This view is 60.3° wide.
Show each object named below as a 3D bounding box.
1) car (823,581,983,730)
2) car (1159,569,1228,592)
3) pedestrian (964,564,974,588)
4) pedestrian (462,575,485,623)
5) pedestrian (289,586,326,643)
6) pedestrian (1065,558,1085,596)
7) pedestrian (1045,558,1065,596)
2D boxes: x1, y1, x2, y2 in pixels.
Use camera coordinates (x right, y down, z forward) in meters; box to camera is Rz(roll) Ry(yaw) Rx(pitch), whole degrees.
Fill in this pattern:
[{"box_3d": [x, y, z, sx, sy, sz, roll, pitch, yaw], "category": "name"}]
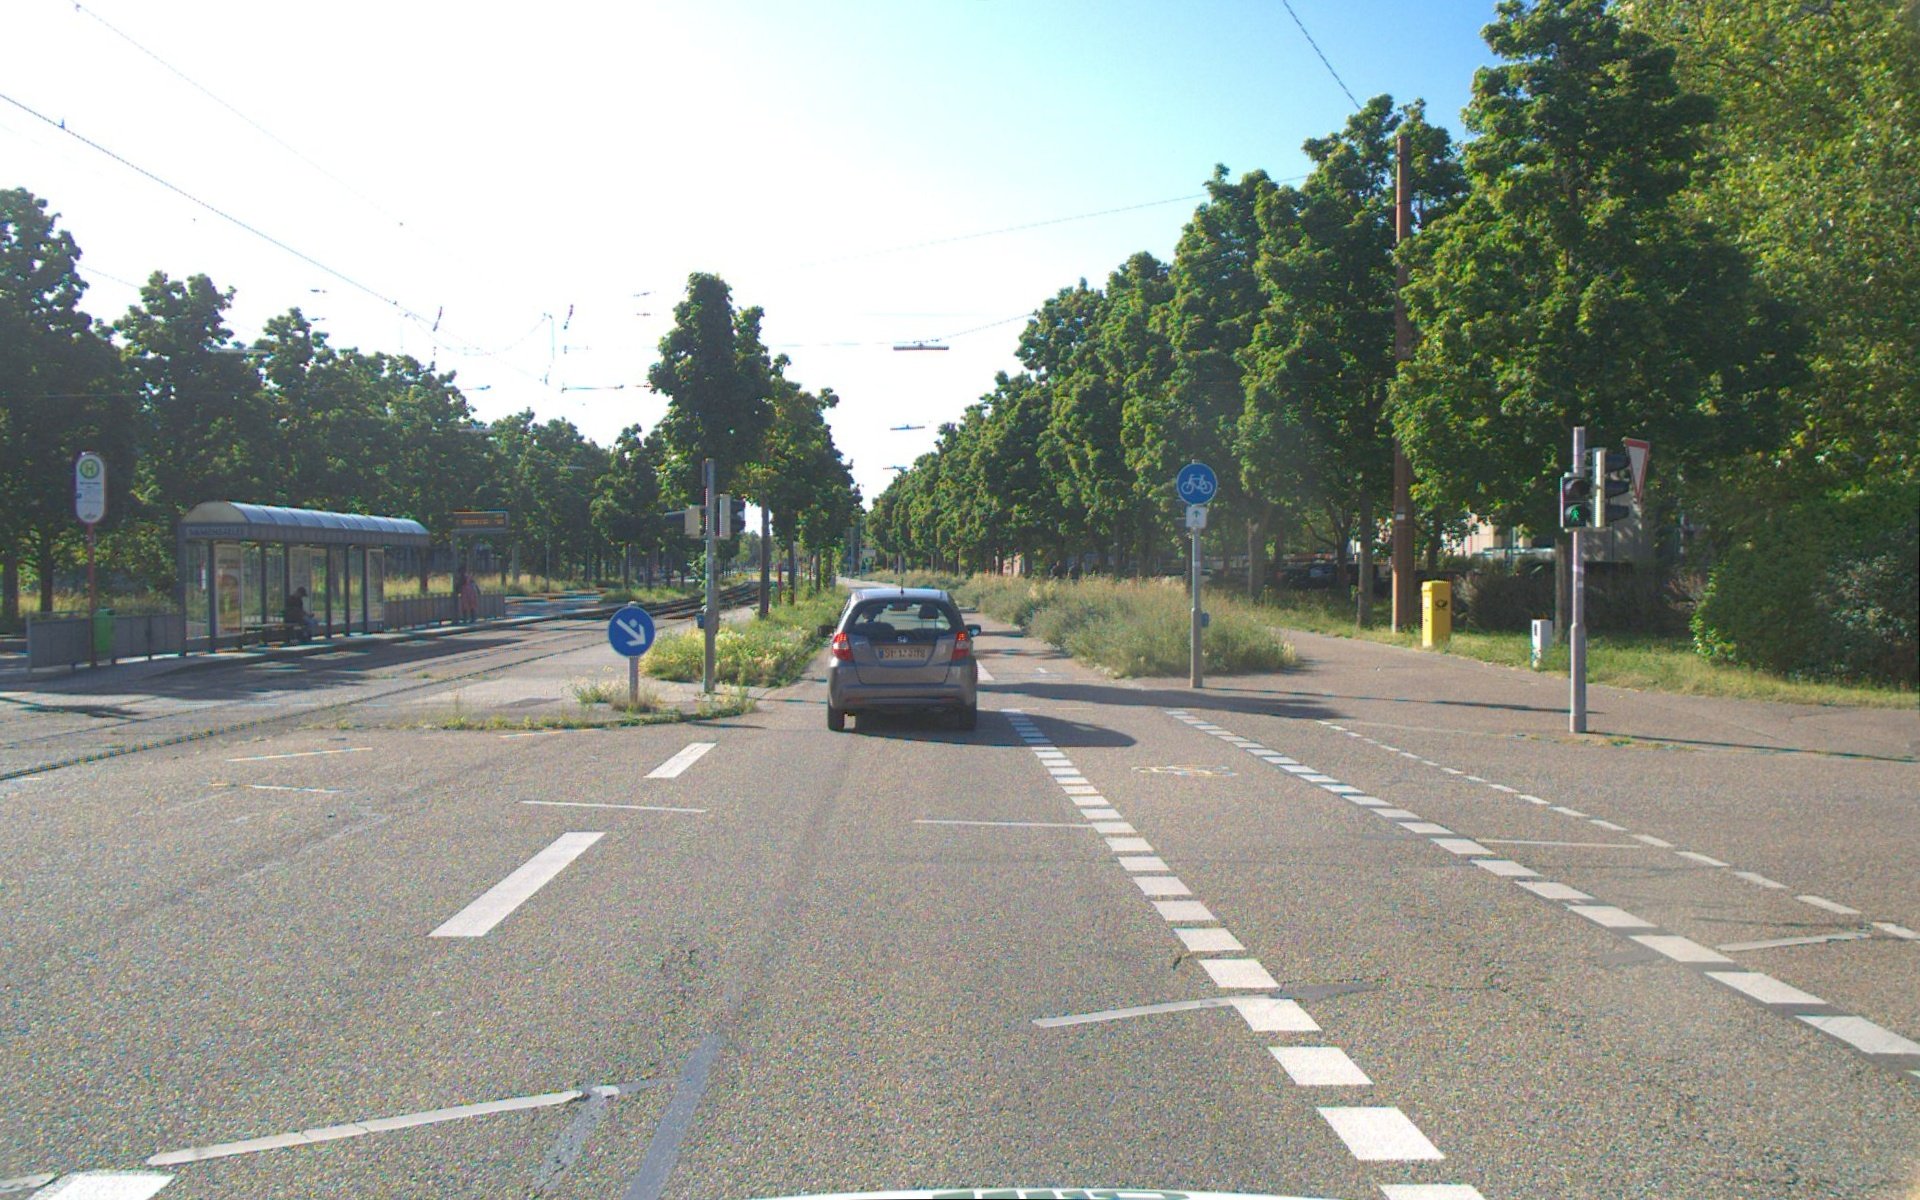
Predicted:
[{"box_3d": [-0.624, 0.601, 19.235, 1.666, 1.550, 3.708, 1, 0, -1], "category": "car"}, {"box_3d": [16.517, -1.407, 117.118, 4.543, 1.583, 1.997, 0, 1, -7], "category": "car"}, {"box_3d": [0.673, -1.766, 122.213, 0.710, 1.720, 0.820, 0, 0, -3], "category": "pedestrian"}, {"box_3d": [-15.329, -0.037, 52.087, 0.533, 1.473, 0.559, -1, 0, -1], "category": "pedestrian"}, {"box_3d": [-14.804, 0.327, 37.532, 0.552, 1.279, 0.580, -2, 0, -2], "category": "pedestrian"}, {"box_3d": [5.857, -1.171, 84.067, 0.865, 1.917, 0.874, 0, 0, -5], "category": "pedestrian"}, {"box_3d": [4.815, -1.186, 84.021, 0.865, 1.917, 0.874, 0, 0, -5], "category": "pedestrian"}]
